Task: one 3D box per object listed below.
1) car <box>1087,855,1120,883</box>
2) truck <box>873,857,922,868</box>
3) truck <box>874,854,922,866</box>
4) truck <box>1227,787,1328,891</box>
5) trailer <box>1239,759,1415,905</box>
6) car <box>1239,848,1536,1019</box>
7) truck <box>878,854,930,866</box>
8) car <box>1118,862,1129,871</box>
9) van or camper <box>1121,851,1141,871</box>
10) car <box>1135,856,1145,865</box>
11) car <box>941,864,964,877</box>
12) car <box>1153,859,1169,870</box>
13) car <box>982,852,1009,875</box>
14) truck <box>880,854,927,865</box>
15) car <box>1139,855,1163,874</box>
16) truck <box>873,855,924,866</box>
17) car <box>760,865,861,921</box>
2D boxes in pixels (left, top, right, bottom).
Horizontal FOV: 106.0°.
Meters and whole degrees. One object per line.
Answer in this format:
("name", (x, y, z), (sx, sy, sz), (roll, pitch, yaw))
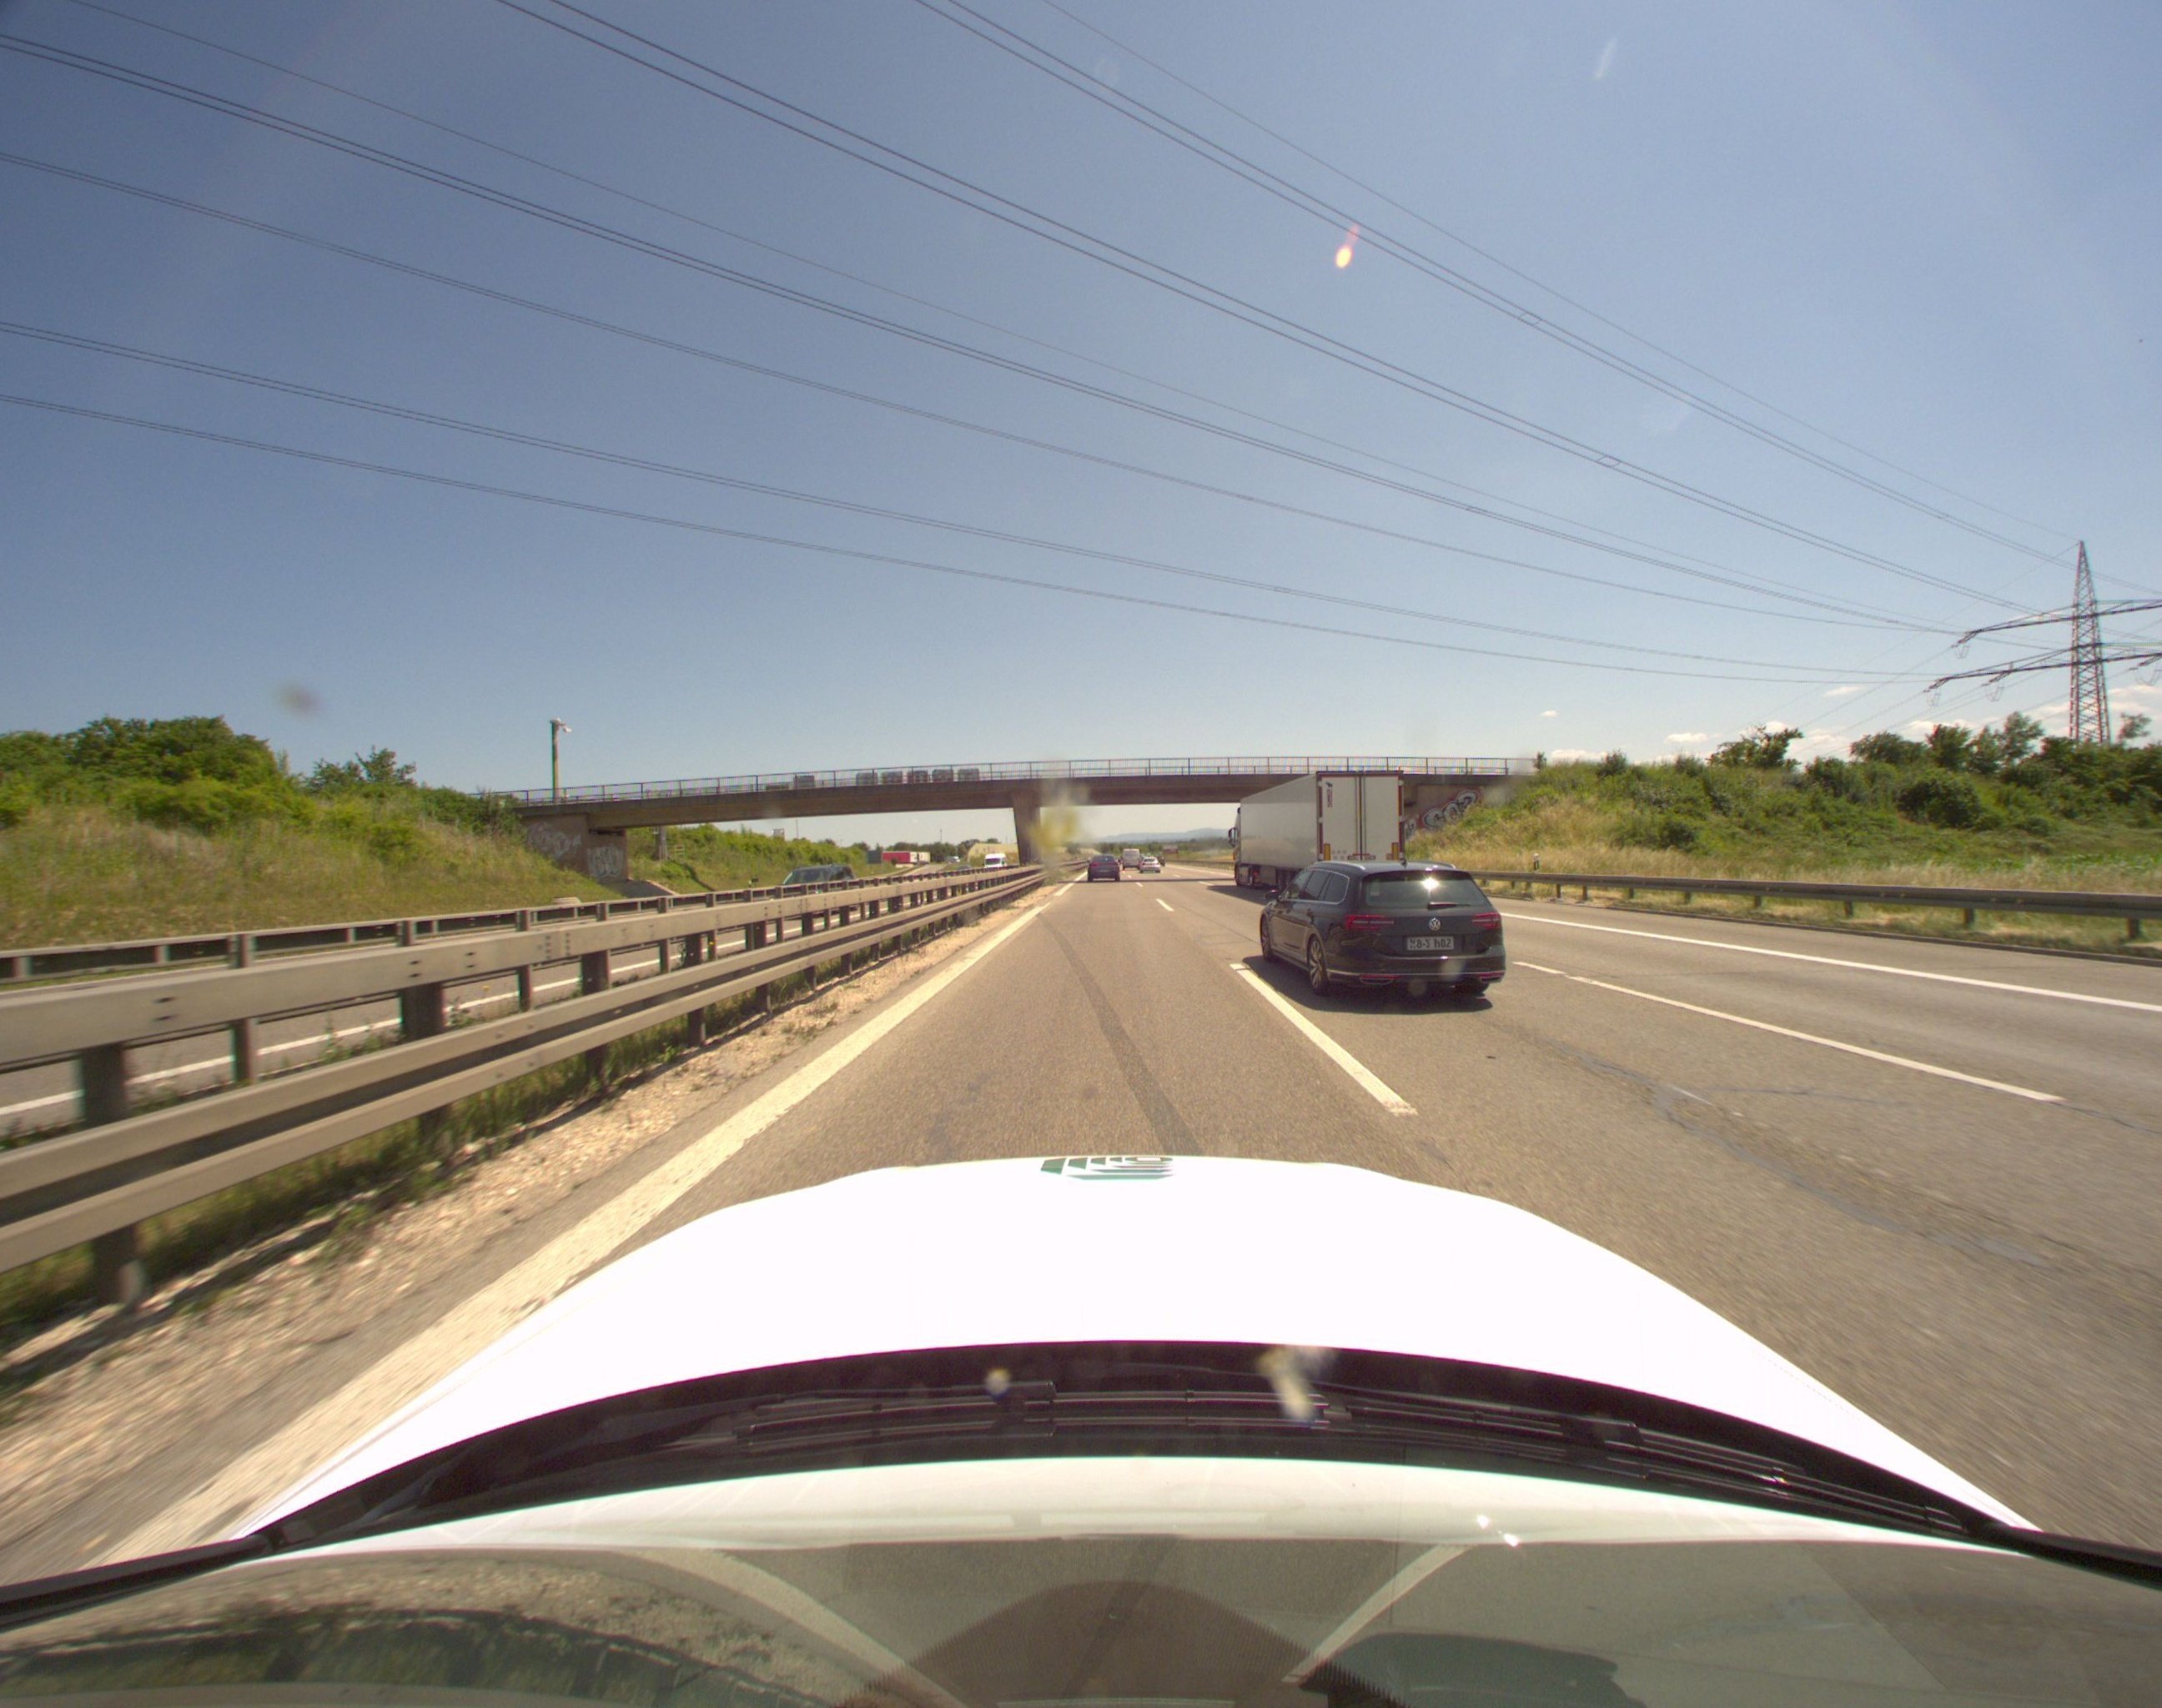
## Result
("car", (1.364, 0.911, 50.340), (1.846, 1.664, 3.733), (-1, 0, -1))
("truck", (-53.586, 2.483, 238.430), (14.535, 3.139, 2.629), (0, -1, -42))
("truck", (-54.270, 1.738, 242.239), (14.535, 3.139, 2.629), (0, -1, -42))
("truck", (8.744, -0.596, 37.154), (2.968, 4.228, 7.691), (-1, 0, 2))
("trailer", (8.469, -0.611, 30.497), (2.932, 4.198, 13.603), (-1, 0, 2))
("car", (3.333, 0.756, 10.067), (1.926, 1.574, 4.936), (-1, 0, 1))
("truck", (-48.294, 1.507, 223.144), (14.535, 3.139, 2.629), (0, -1, -42))
("car", (8.212, 2.339, 158.542), (1.986, 1.683, 4.002), (-1, 0, 2))
("van or camper", (5.634, 0.818, 92.256), (2.102, 2.211, 5.268), (-1, 0, 2))
("car", (11.810, 1.323, 163.176), (1.986, 1.683, 4.002), (-1, 0, 2))
("car", (-15.110, 1.961, 95.807), (1.986, 1.398, 4.002), (-1, 0, 2))
("car", (11.848, 1.550, 120.803), (1.986, 1.683, 4.002), (-1, 0, 2))
("car", (-9.644, 1.046, 92.101), (2.191, 2.509, 6.333), (-1, 0, 2))
("truck", (-53.703, 1.648, 247.462), (14.535, 3.139, 2.629), (0, -1, -42))
("car", (6.417, 0.919, 74.548), (1.986, 1.683, 4.002), (-1, 0, 2))
("truck", (-51.344, 1.778, 230.024), (14.535, 3.139, 2.629), (0, -1, -42))
("car", (-8.737, 1.198, 26.694), (1.831, 1.600, 4.002), (-2, 0, 2))
